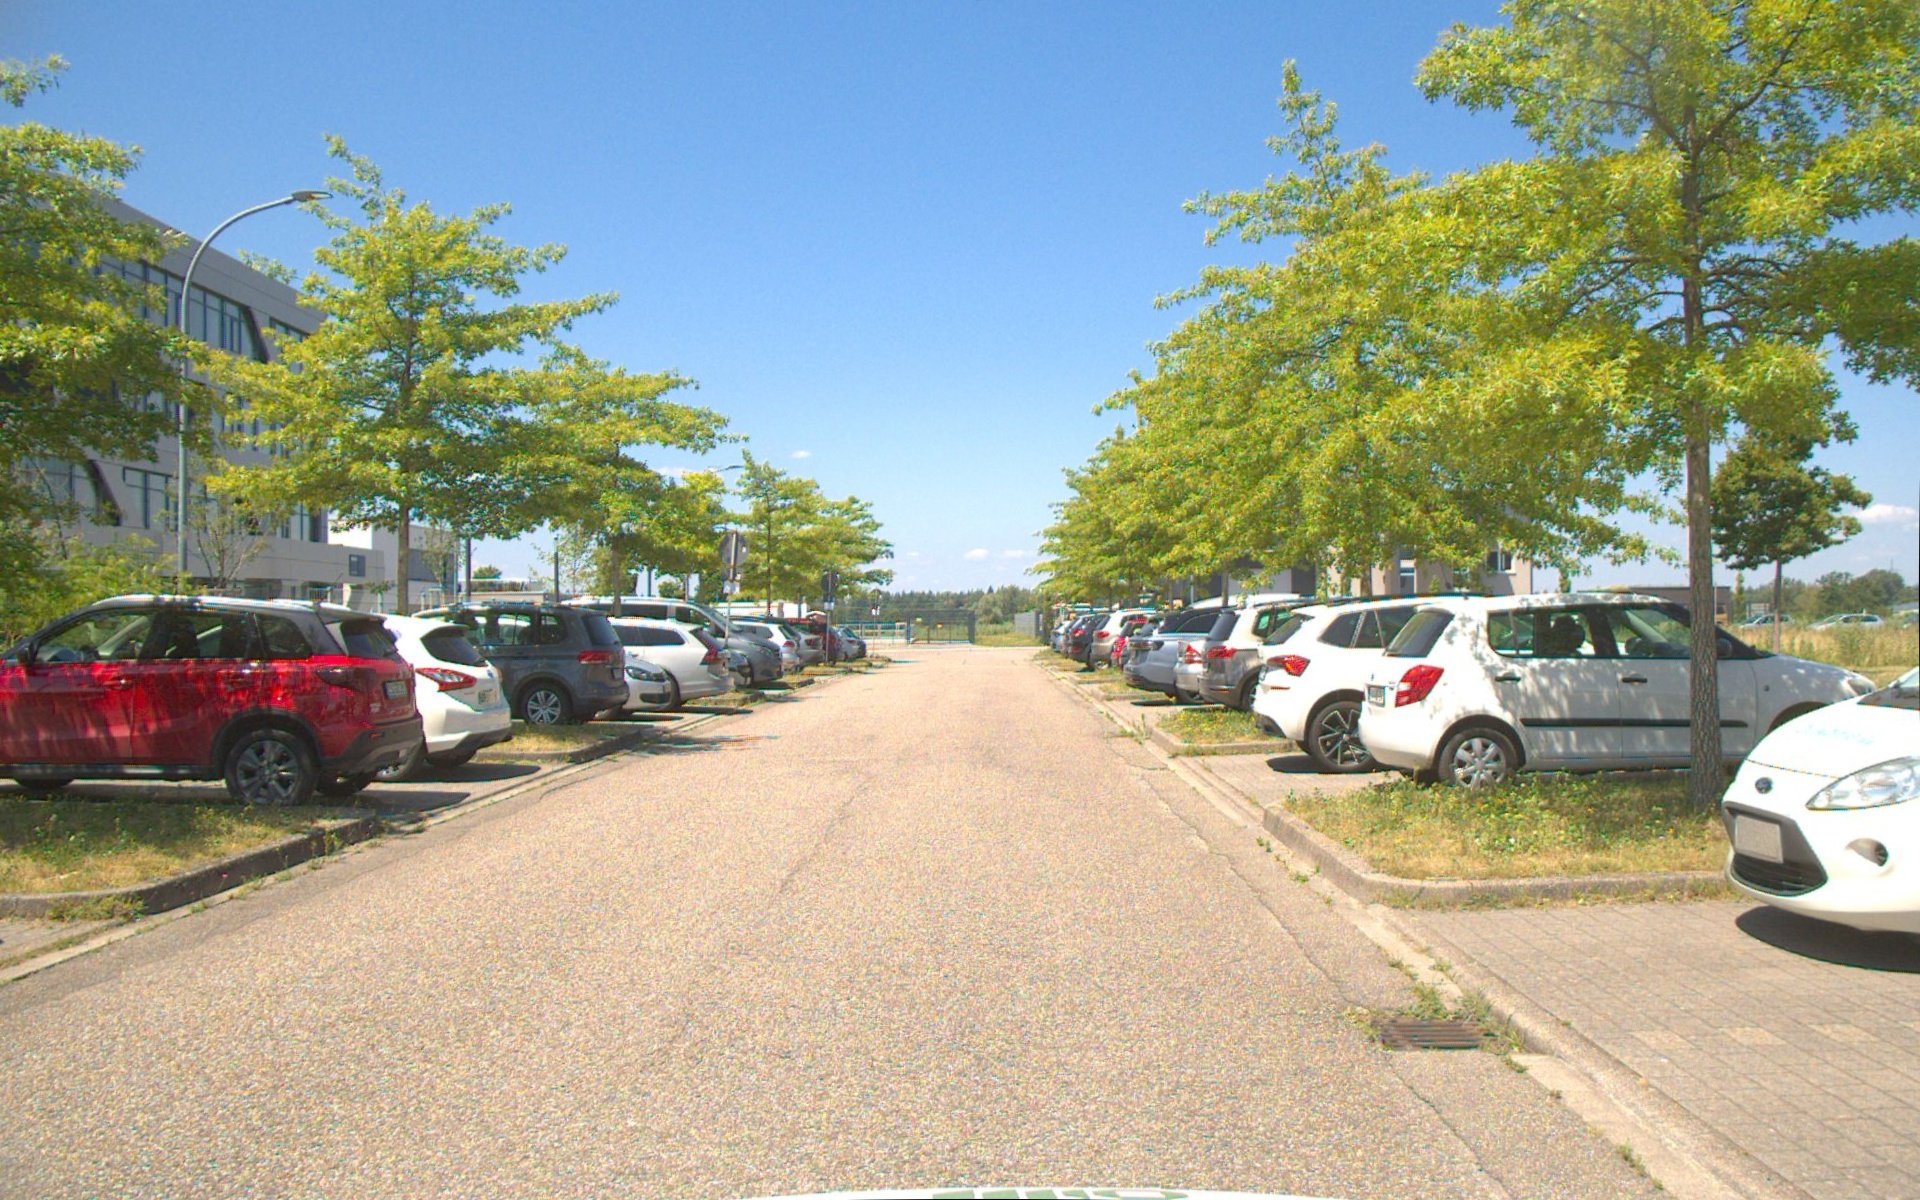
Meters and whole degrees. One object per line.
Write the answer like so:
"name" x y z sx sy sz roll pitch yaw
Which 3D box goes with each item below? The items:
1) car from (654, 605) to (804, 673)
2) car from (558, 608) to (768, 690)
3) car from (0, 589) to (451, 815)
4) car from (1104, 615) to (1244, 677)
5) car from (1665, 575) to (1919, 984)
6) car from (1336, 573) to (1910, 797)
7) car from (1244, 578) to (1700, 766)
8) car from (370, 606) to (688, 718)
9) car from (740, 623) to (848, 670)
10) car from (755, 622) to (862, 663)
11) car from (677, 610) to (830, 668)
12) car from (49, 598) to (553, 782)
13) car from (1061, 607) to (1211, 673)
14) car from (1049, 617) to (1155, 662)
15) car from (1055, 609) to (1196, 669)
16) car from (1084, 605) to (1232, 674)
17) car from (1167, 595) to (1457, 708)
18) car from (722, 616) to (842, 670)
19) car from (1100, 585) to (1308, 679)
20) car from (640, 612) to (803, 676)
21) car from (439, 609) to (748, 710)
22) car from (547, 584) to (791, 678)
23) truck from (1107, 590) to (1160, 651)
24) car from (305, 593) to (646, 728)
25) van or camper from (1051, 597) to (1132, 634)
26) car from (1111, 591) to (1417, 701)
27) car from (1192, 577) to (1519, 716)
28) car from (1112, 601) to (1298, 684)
"car" -6.282 1.065 45.297 3.909 1.708 1.775 2 -1 -5
"car" -6.013 0.994 33.792 3.887 1.510 1.764 2 -1 1
"car" -6.231 0.762 13.199 3.761 1.620 1.727 1 -1 -2
"car" 5.523 1.187 43.000 3.387 1.442 1.754 -2 -1 0
"car" 5.150 0.587 7.058 3.547 1.488 1.609 -3 -1 -4
"car" 5.031 0.632 12.942 3.755 1.551 1.779 -1 -1 0
"car" 4.620 0.641 15.406 3.753 1.580 1.781 -1 0 6
"car" -6.286 0.901 24.463 4.224 1.499 1.727 1 -1 -2
"car" -5.651 1.580 56.614 3.583 1.535 1.730 1 -1 -3
"car" -5.785 1.643 63.612 3.994 1.449 1.872 2 -1 -3
"car" -5.925 1.118 47.770 4.107 1.506 1.713 2 -1 1
"car" -6.240 0.814 15.979 4.085 1.539 1.807 2 0 2
"car" 5.064 1.159 47.937 4.088 1.726 1.782 -2 -1 -1
"car" 5.857 1.627 68.602 4.191 1.673 1.851 -2 -1 1
"car" 5.389 1.266 54.244 4.359 1.799 1.992 -2 -1 -2
"car" 5.379 1.071 45.228 3.795 1.707 1.782 -2 -1 1
"car" 5.188 0.761 24.730 3.963 1.478 1.646 -2 -1 1
"car" -5.771 1.397 54.004 3.660 1.650 1.816 1 -1 1
"car" 5.347 0.709 36.589 4.312 1.862 1.796 -2 -1 1
"car" -6.102 1.128 42.582 3.956 1.486 1.603 2 -1 -2
"car" -5.881 0.947 26.986 4.618 1.473 1.856 1 -1 -3
"car" -6.373 0.682 36.635 4.964 1.925 1.997 1 -1 2
"truck" 11.871 1.438 113.531 2.861 3.998 6.935 -1 -1 0
"car" -6.448 0.793 22.329 4.033 1.663 1.727 1 -1 0
"van or camper" 8.085 0.952 102.135 4.835 2.201 2.000 -1 0 0
"car" 4.954 0.746 27.382 4.622 1.588 1.912 -2 -1 -3
"car" 5.234 0.618 22.254 3.963 1.653 1.693 -2 -1 1
"car" 4.986 0.868 33.992 3.556 1.529 1.676 -2 -1 1
